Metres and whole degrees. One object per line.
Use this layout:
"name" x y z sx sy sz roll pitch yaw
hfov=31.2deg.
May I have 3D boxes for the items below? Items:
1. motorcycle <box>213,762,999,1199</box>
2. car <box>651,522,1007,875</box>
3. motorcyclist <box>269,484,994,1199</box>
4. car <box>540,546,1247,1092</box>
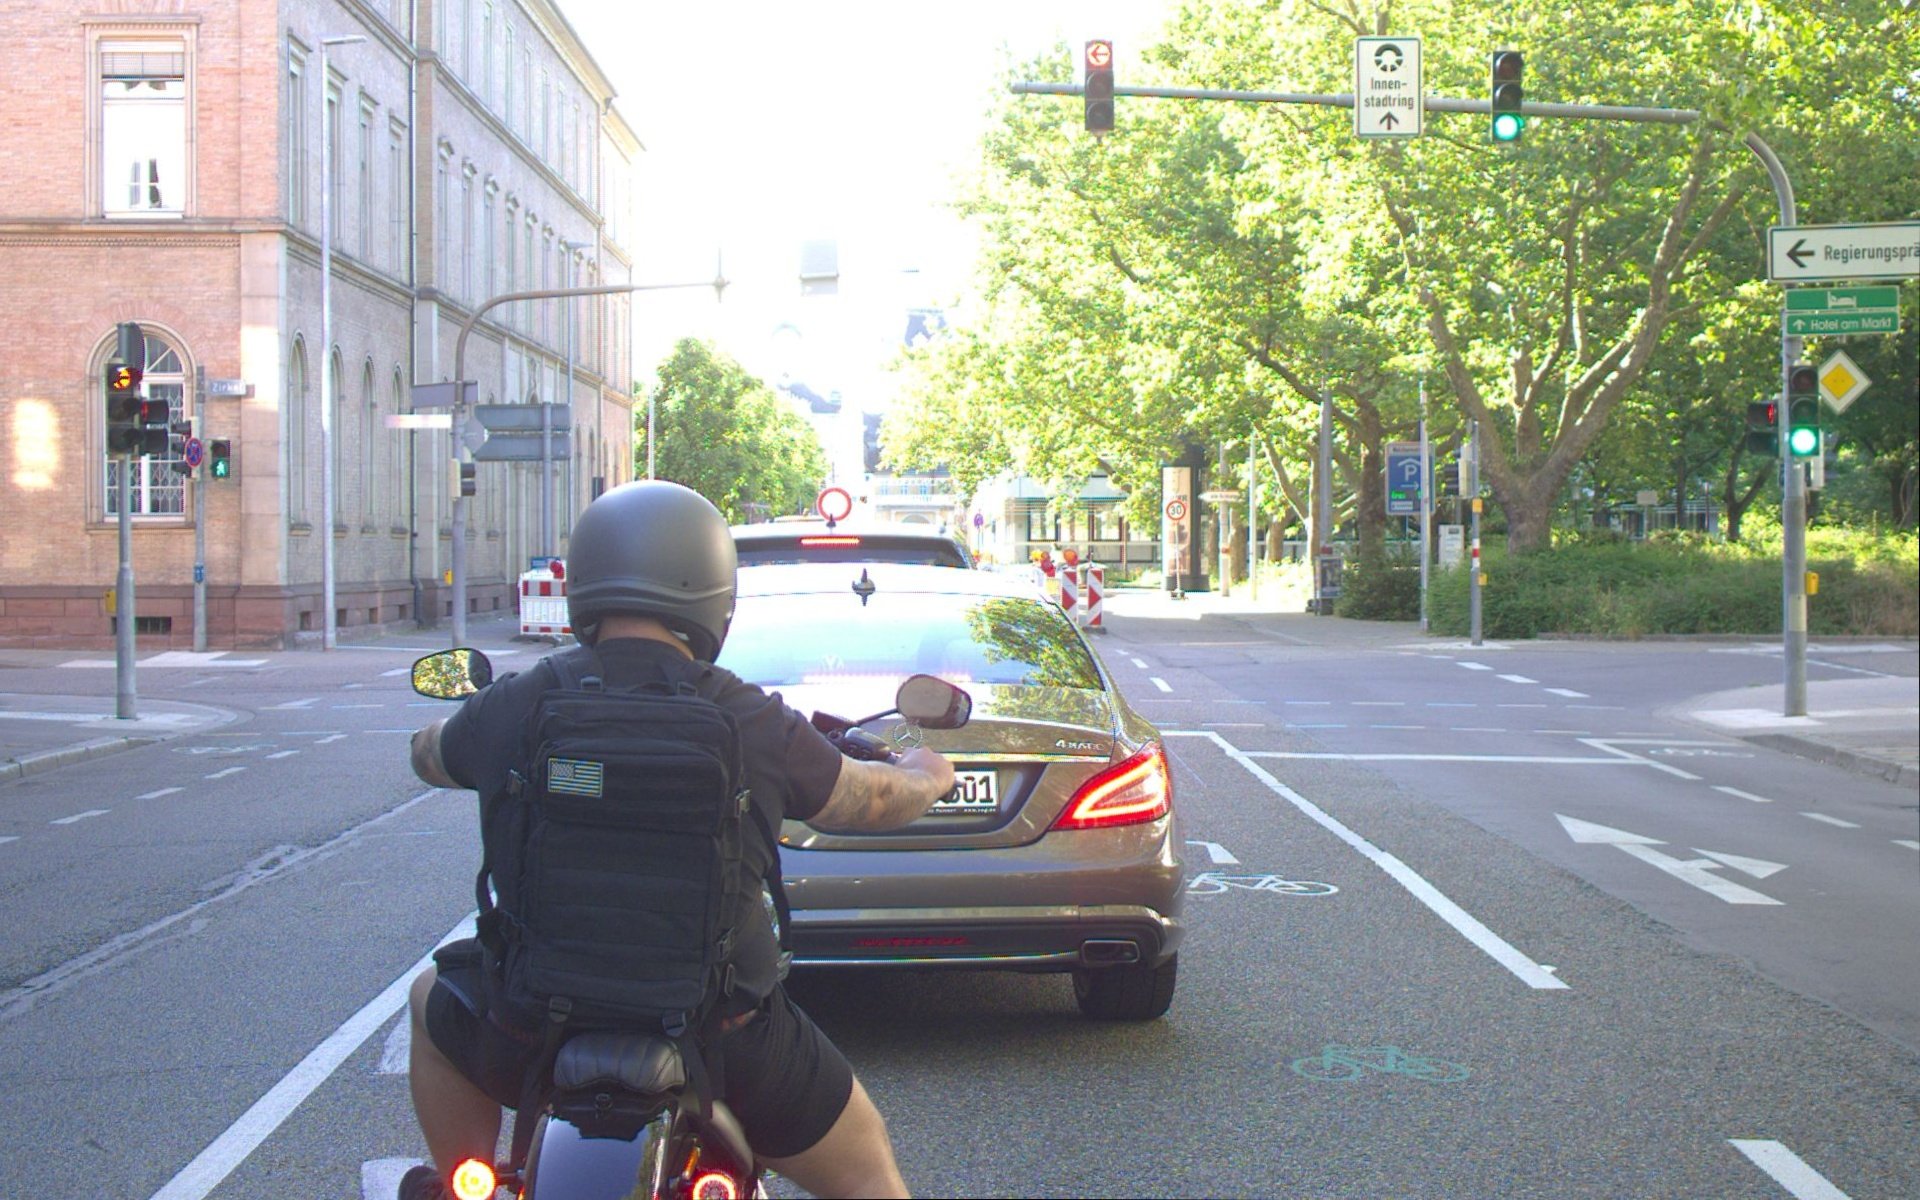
"motorcycle" -0.460 0.880 5.565 0.989 1.075 2.452 0 1 -1
"car" -0.642 0.407 17.767 1.612 1.602 4.329 0 1 -1
"motorcyclist" -0.456 0.624 5.407 0.989 1.591 1.404 0 1 -1
"car" -0.435 0.558 11.601 1.945 1.468 4.363 0 1 -7
